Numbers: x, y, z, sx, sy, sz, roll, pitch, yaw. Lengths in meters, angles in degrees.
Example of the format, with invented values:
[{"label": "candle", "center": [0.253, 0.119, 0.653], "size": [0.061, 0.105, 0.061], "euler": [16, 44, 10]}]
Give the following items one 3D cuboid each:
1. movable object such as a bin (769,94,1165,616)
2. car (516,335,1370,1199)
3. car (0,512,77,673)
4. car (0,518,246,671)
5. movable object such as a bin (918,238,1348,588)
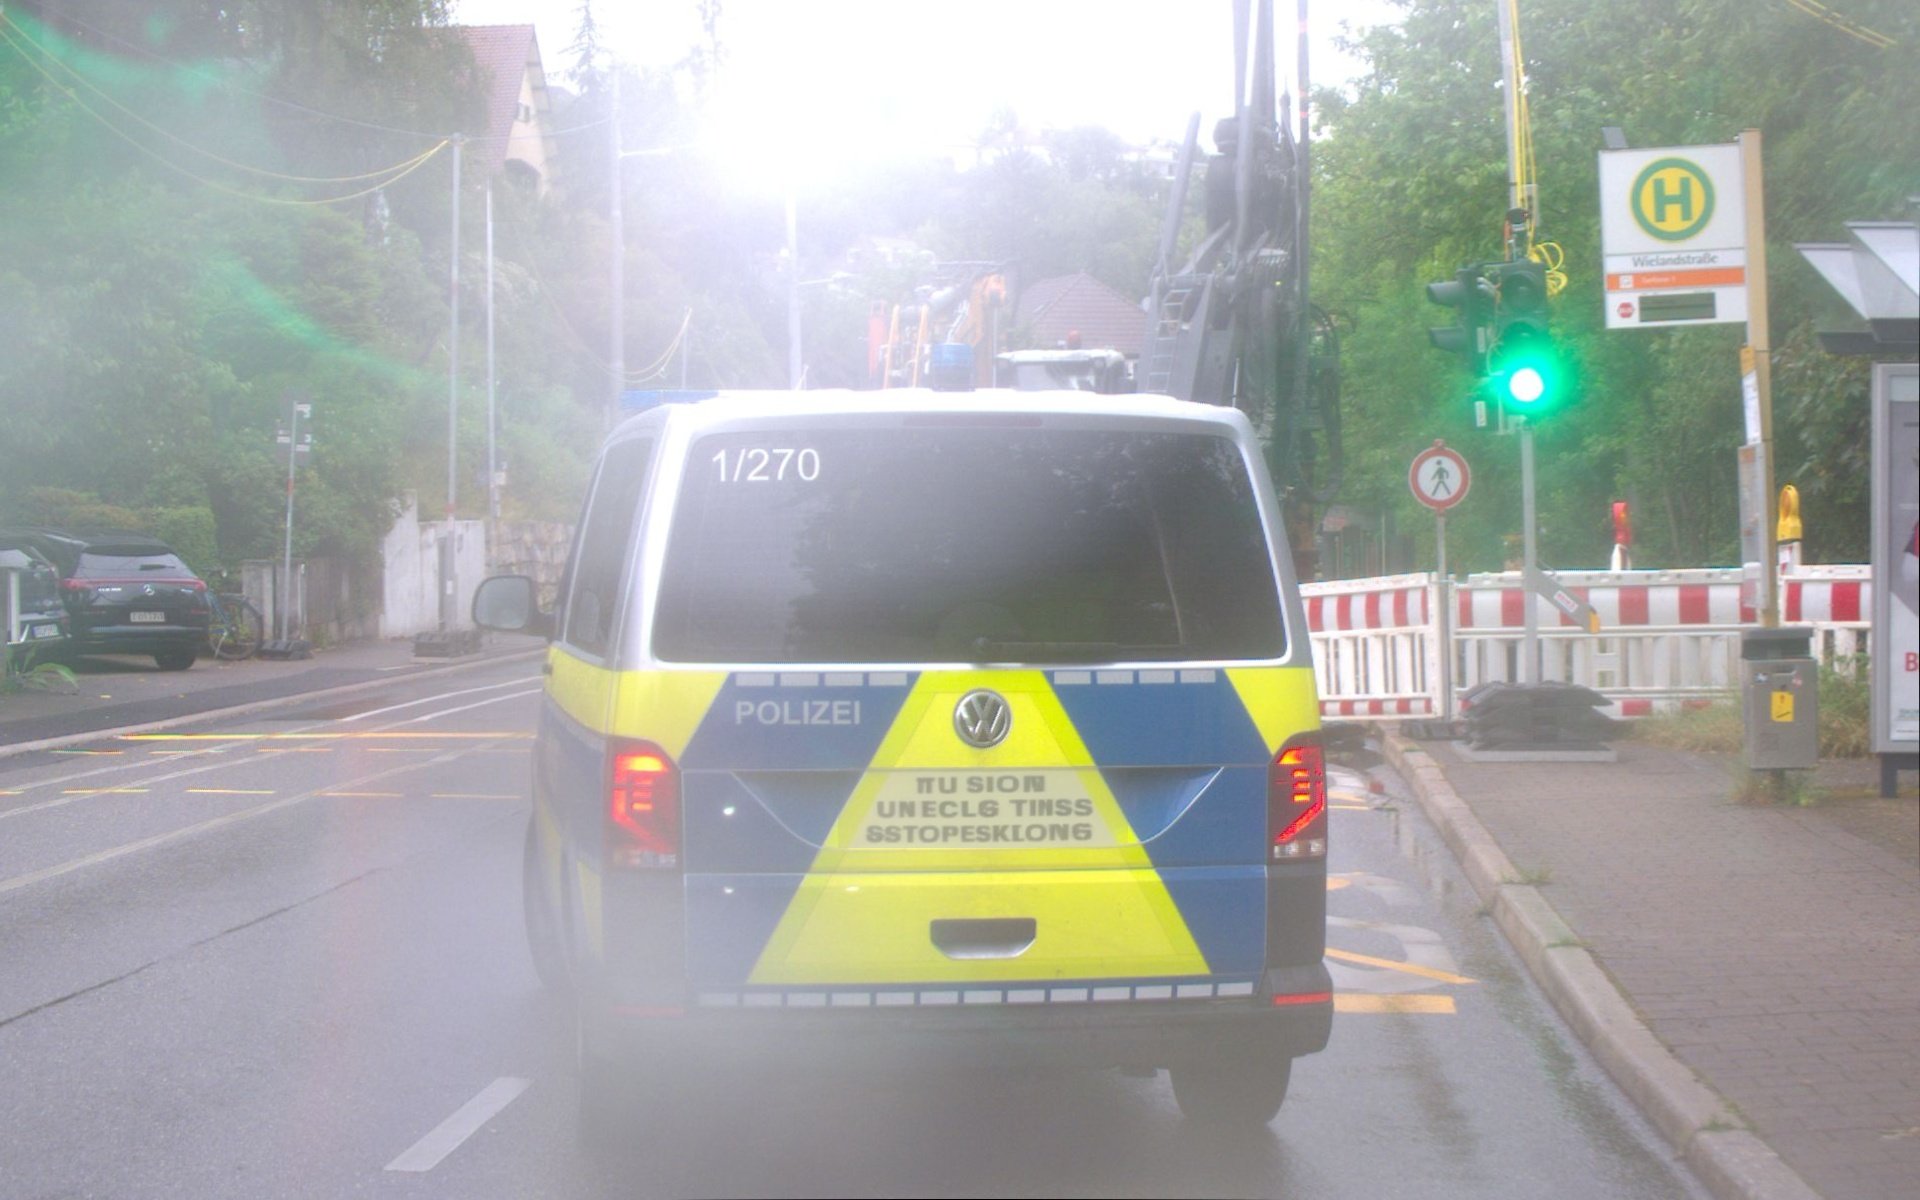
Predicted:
[{"label": "movable object such as a bin", "center": [0.184, -2.040, 30.100], "size": [2.879, 4.156, 4.486], "euler": [-1, 2, 7]}, {"label": "car", "center": [-0.307, 0.400, 10.080], "size": [1.907, 2.003, 4.440], "euler": [1, 0, -8]}, {"label": "car", "center": [-10.853, -0.103, 33.336], "size": [3.989, 1.520, 1.939], "euler": [1, 0, 13]}, {"label": "car", "center": [-9.316, -0.084, 36.430], "size": [1.781, 1.520, 3.999], "euler": [1, 1, -39]}, {"label": "movable object such as a bin", "center": [2.859, -2.785, 54.302], "size": [3.689, 5.049, 7.150], "euler": [-1, 0, 32]}]
